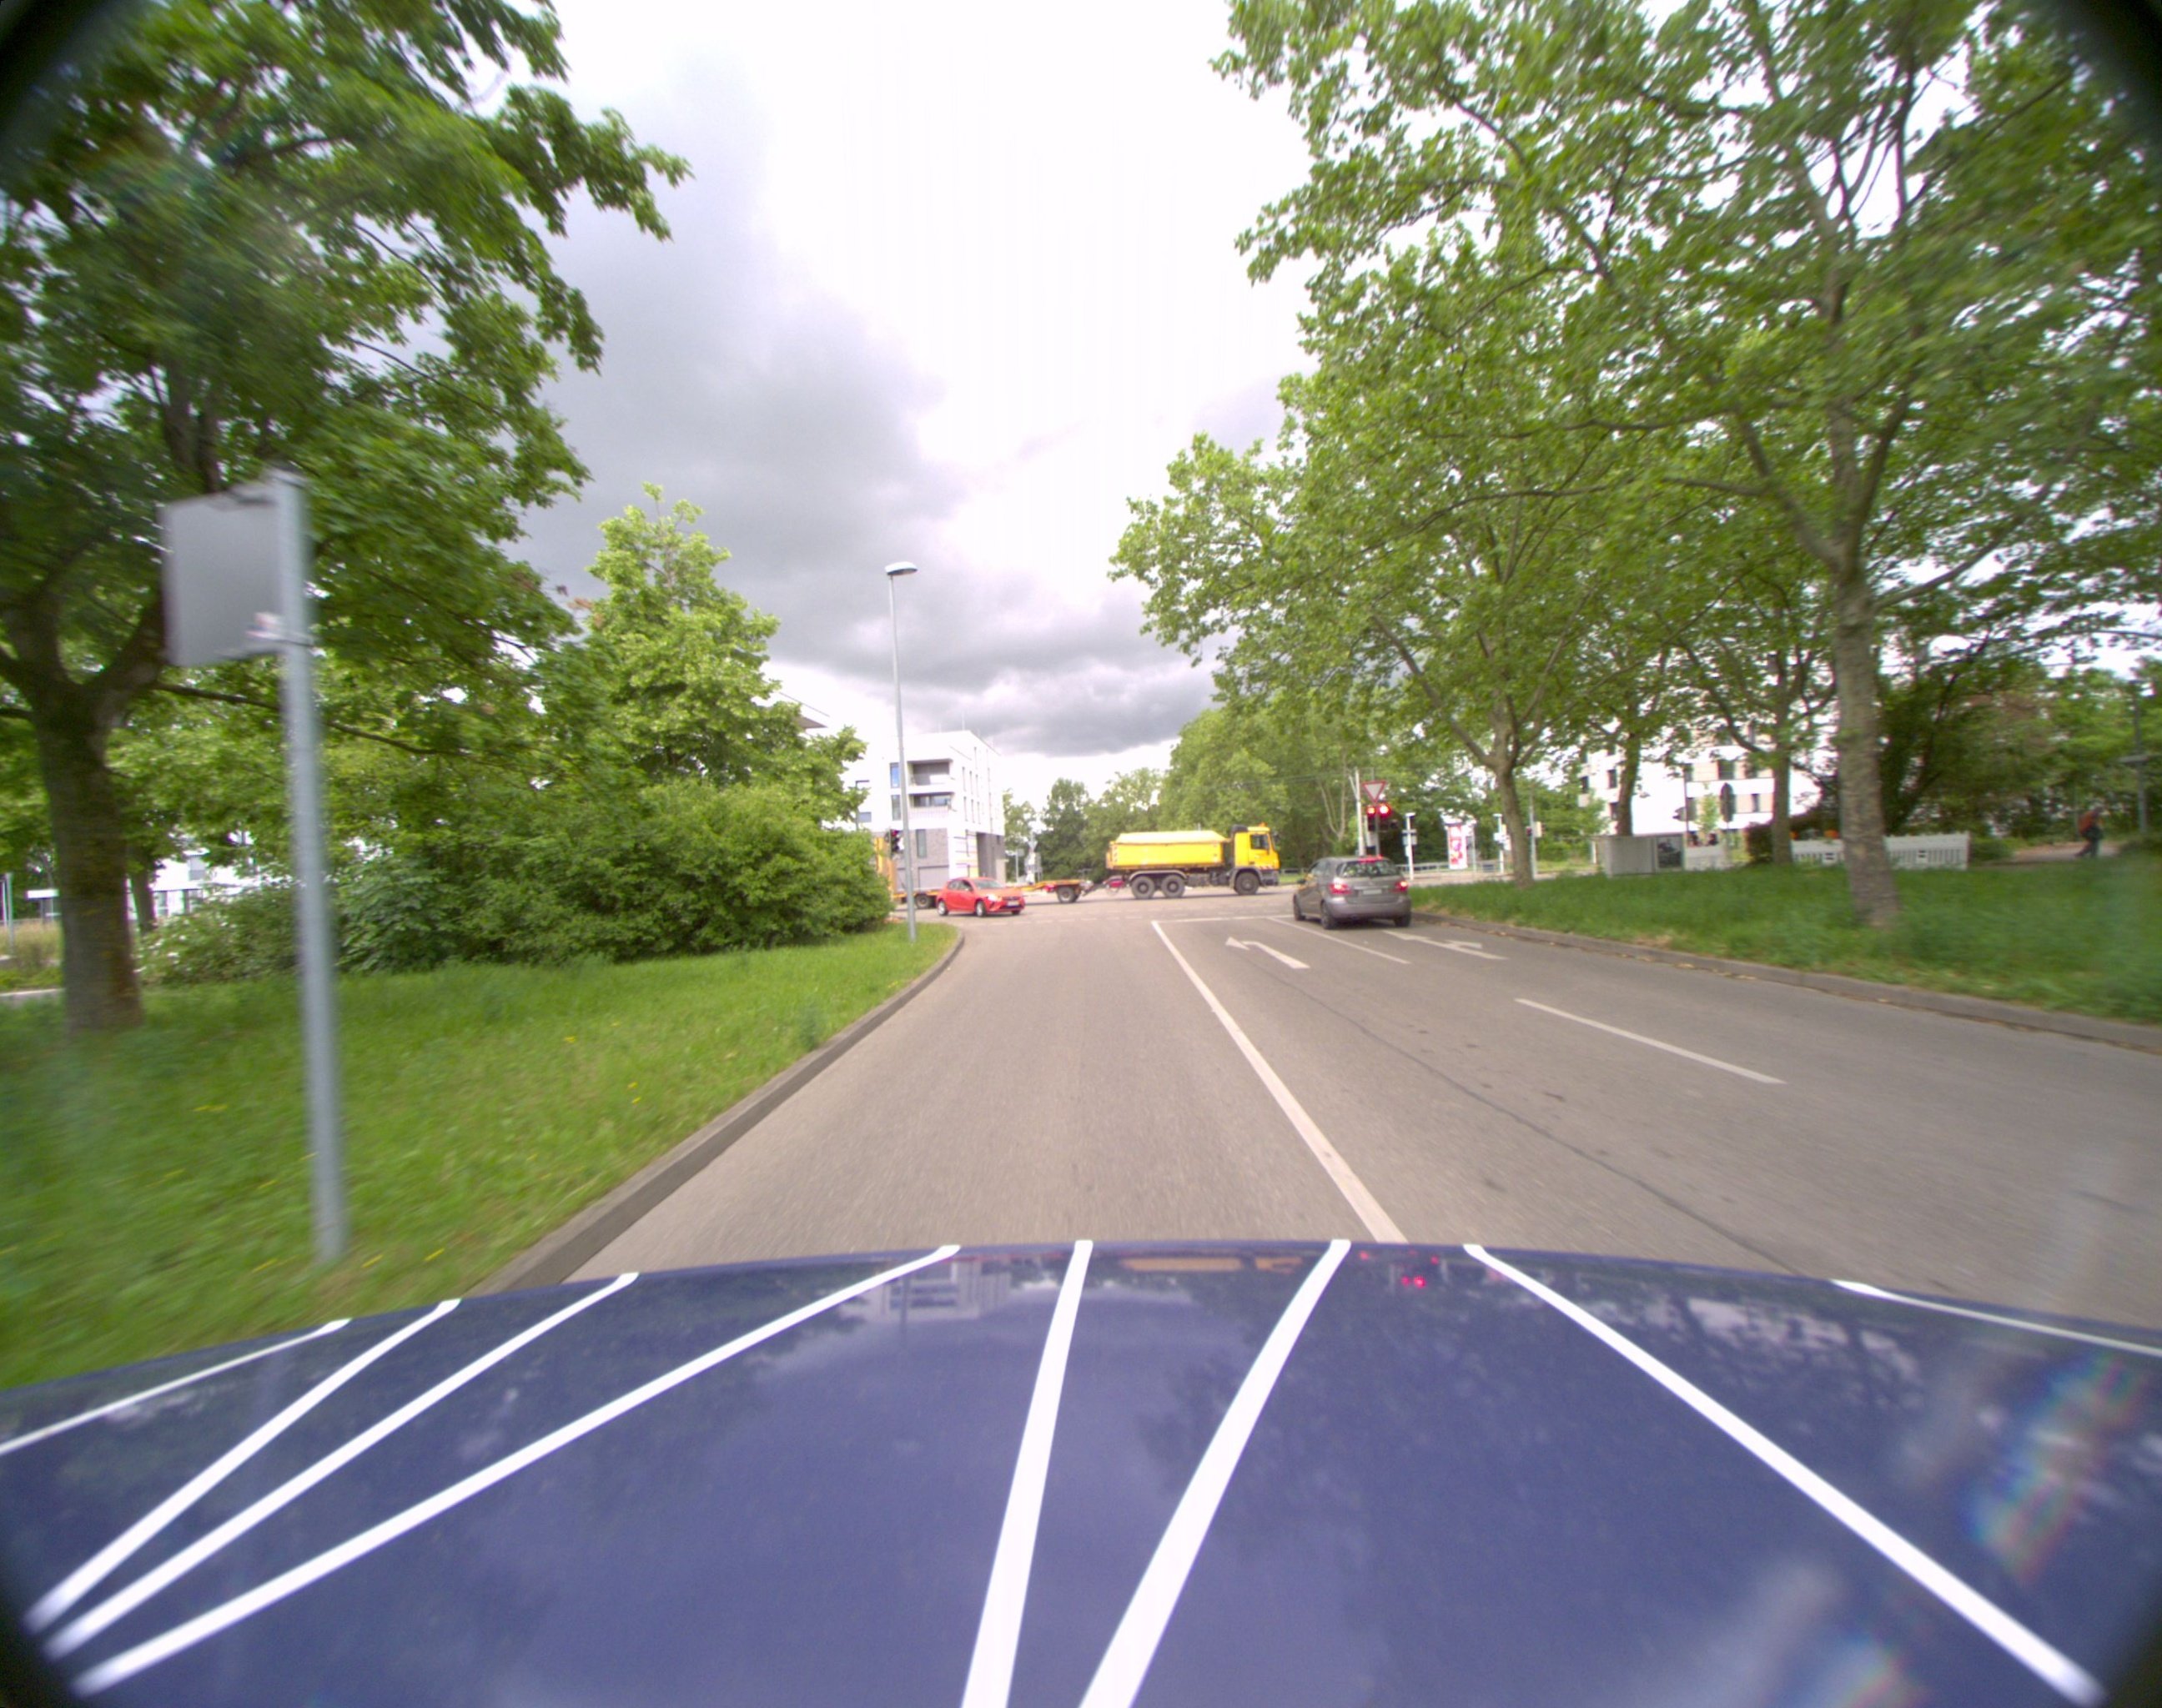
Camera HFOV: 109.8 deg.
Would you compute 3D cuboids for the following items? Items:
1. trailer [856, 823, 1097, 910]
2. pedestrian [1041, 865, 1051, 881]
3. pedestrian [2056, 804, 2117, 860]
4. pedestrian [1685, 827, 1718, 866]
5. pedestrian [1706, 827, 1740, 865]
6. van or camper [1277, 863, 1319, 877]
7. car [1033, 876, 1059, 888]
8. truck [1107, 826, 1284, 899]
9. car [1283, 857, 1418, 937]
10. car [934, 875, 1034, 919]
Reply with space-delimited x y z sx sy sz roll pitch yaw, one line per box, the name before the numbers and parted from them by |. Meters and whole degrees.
trailer | -4.823 0.608 36.169 10.902 3.500 2.716 -3 0 5
pedestrian | -4.291 2.347 93.683 0.939 2.001 1.117 -3 -1 3
pedestrian | 28.434 -0.601 21.503 0.654 1.529 0.773 -2 0 9
pedestrian | 24.557 -0.288 30.093 0.698 1.480 0.688 -2 0 7
pedestrian | 25.444 -0.304 30.120 0.698 1.480 0.721 -2 0 8
van or camper | 29.118 2.142 101.953 5.001 1.524 1.865 -3 -1 4
car | -5.096 4.130 111.426 3.539 1.490 1.648 -3 -1 4
truck | 5.202 0.396 35.318 7.770 2.985 2.730 -2 0 5
car | 6.120 0.906 17.818 1.771 1.576 4.413 -2 -1 3
car | -3.687 1.563 28.464 1.697 1.470 3.989 -2 -1 -42
